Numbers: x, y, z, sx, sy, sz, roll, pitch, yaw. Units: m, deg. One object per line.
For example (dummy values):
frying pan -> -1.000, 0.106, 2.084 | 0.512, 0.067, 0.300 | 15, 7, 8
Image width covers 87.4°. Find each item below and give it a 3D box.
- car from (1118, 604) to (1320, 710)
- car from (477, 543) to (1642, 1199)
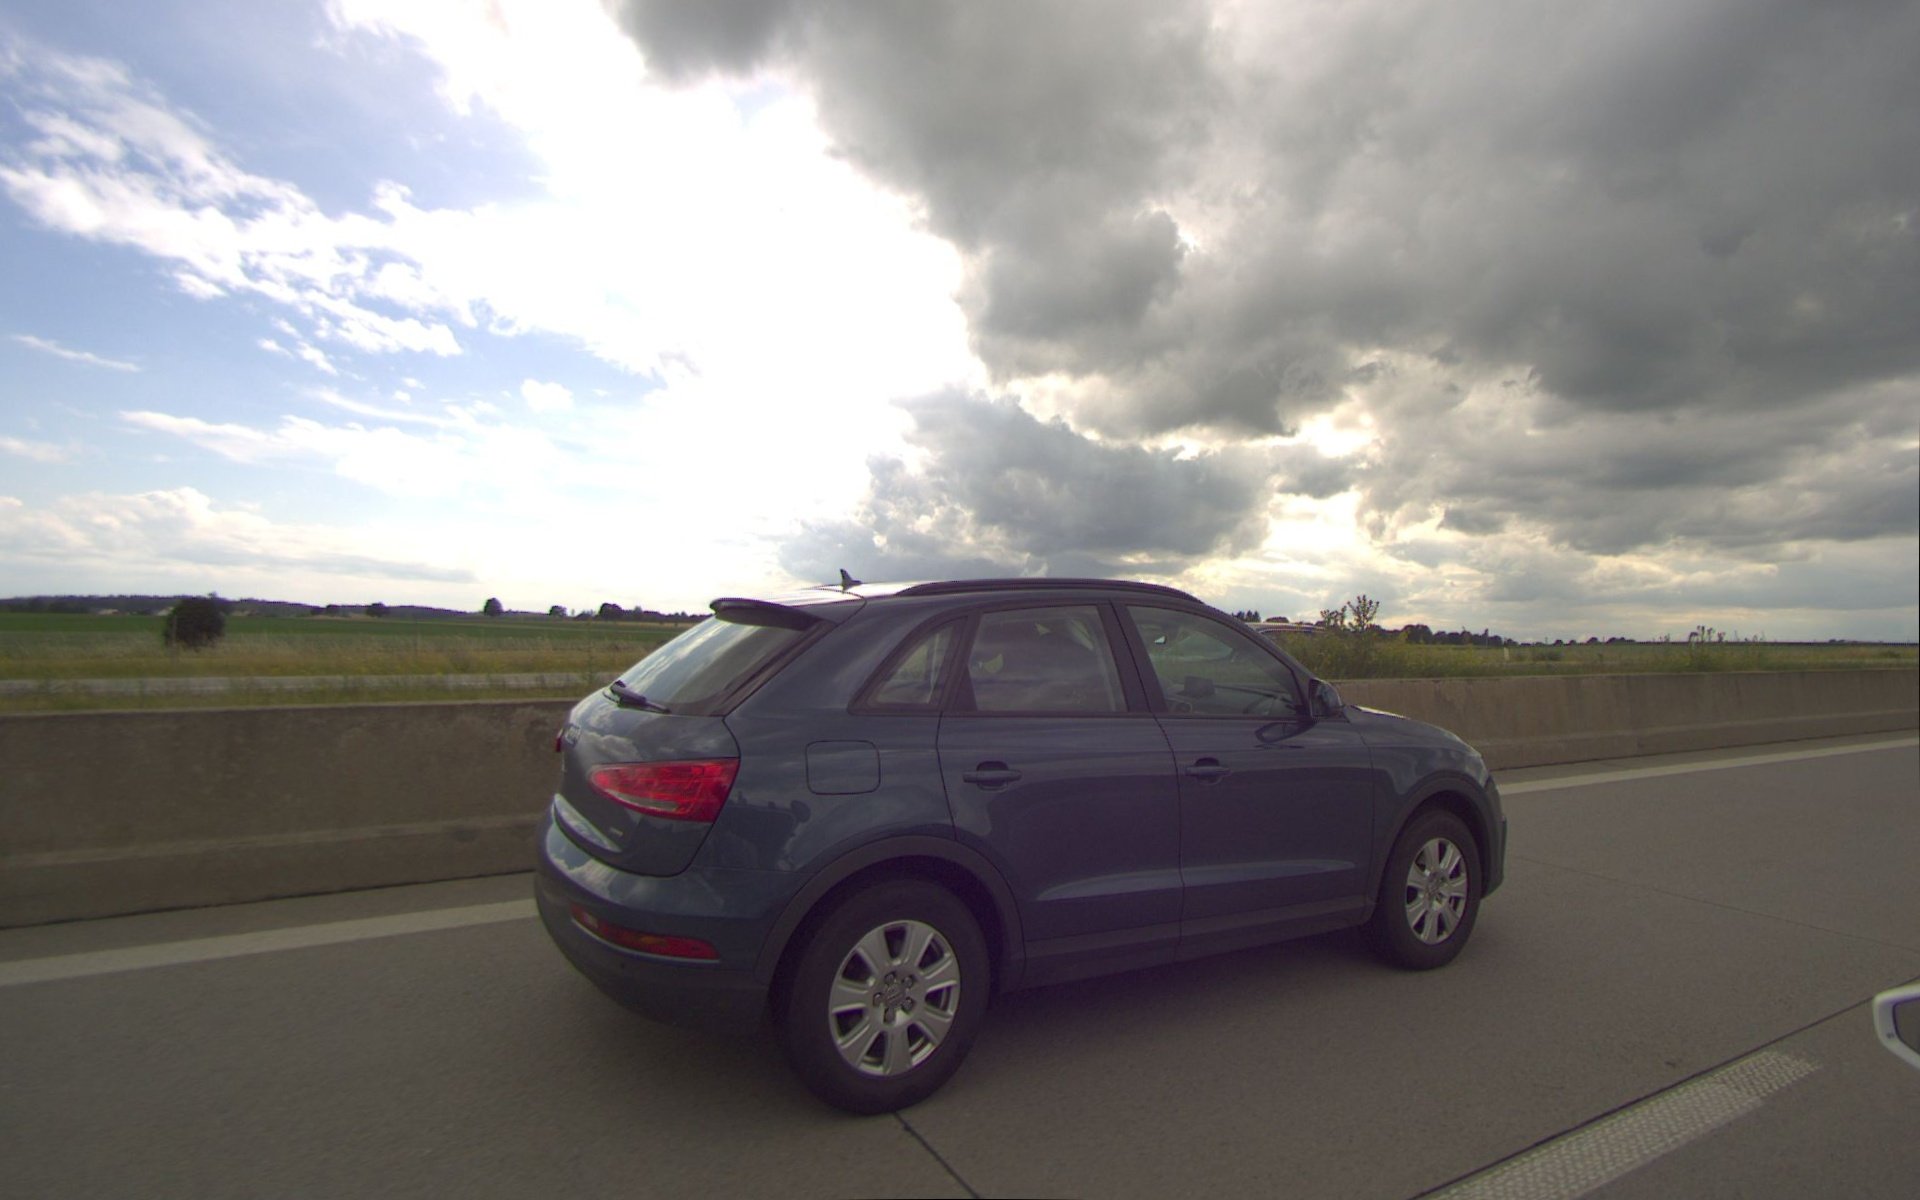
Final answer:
car -> 4.526, 0.999, 17.482 | 3.221, 1.669, 1.543 | 4, -1, -30
car -> 0.785, 0.729, 4.442 | 5.100, 1.617, 1.783 | 2, 0, -32
